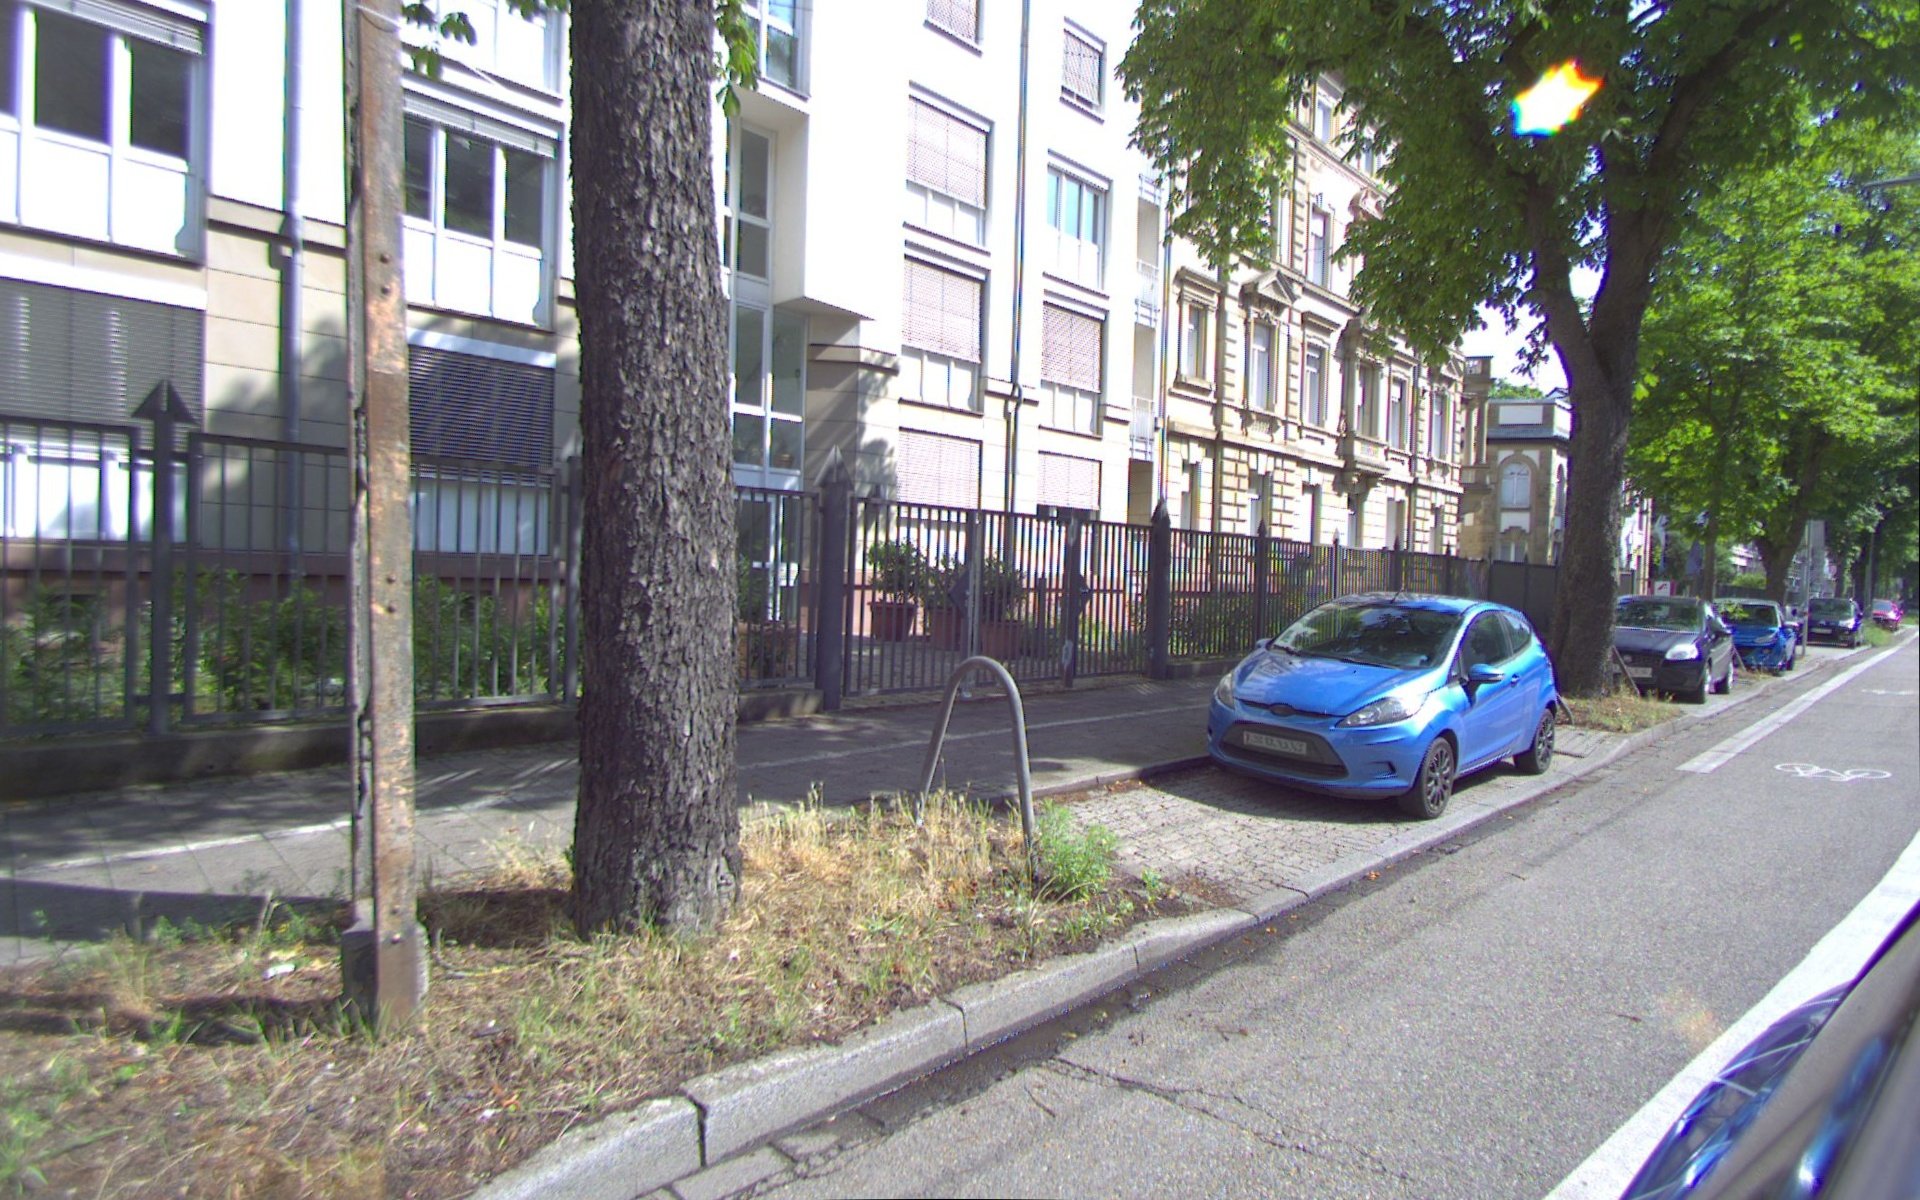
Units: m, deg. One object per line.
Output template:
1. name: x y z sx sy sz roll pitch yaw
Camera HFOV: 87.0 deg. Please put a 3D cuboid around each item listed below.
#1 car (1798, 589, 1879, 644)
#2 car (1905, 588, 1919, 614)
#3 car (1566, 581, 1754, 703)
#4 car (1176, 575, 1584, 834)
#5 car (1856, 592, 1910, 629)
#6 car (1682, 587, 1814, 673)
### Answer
1. car: 29.398 0.513 33.846 1.741 1.592 3.602 7 5 44
2. car: 63.238 0.089 66.291 1.741 1.592 3.867 7 5 44
3. car: 10.636 0.541 15.285 1.676 1.493 3.602 7 5 44
4. car: 3.481 0.632 8.082 3.601 1.493 1.644 0 5 -44
5. car: 45.427 0.501 49.807 1.741 1.592 3.867 7 5 44
6. car: 16.384 0.554 20.981 1.676 1.493 3.602 7 5 44
